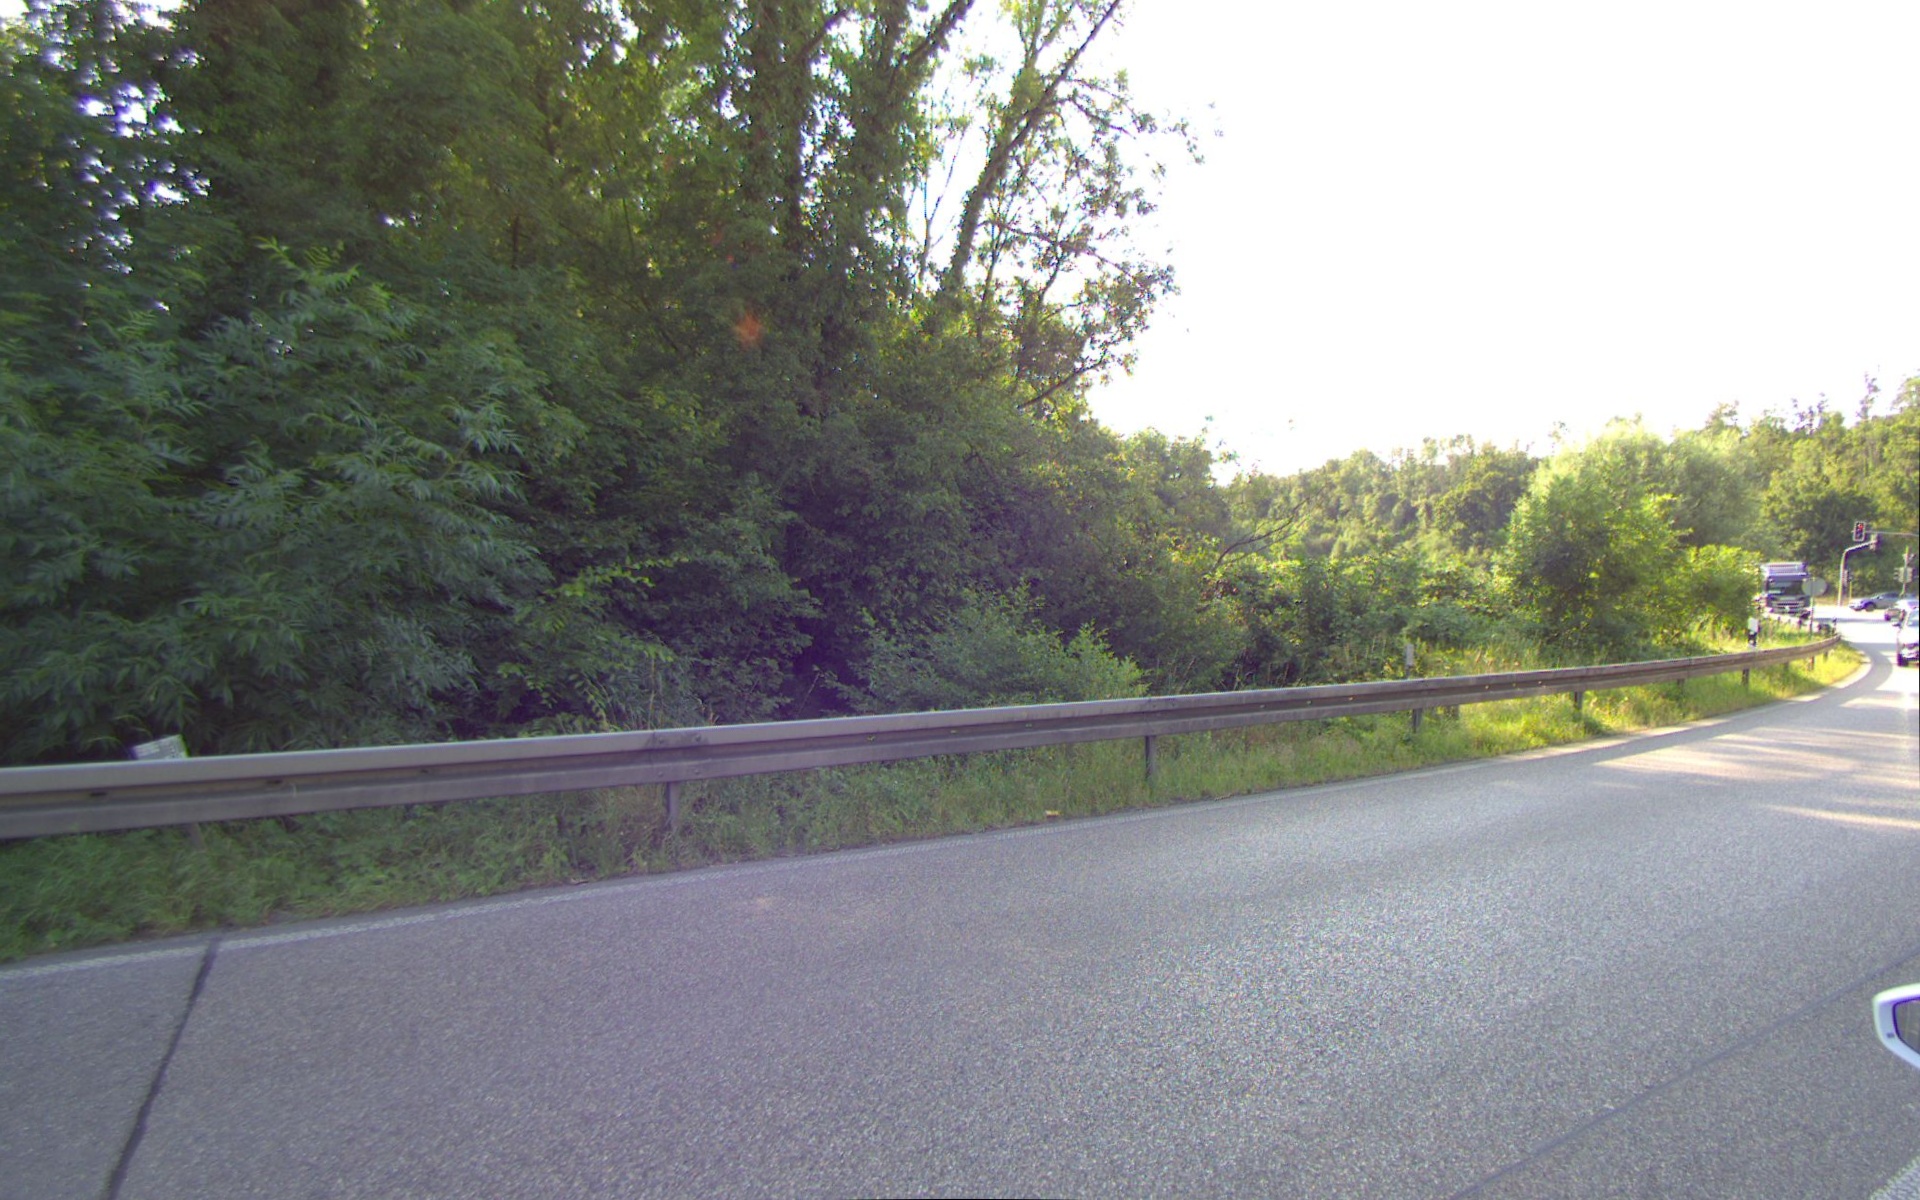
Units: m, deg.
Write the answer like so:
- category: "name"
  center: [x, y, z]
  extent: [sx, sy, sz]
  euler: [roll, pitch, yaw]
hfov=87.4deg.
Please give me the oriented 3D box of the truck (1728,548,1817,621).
- category: "truck"
  center: [56.458, -1.074, 70.088]
  extent: [2.967, 4.647, 10.221]
  euler: [3, 2, 29]

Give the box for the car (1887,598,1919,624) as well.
- category: "car"
  center: [60.571, 0.696, 63.668]
  extent: [1.841, 1.586, 3.991]
  euler: [3, 2, 31]

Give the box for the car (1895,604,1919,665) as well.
- category: "car"
  center: [27.010, 0.921, 27.644]
  extent: [1.847, 1.586, 3.977]
  euler: [0, 0, 43]

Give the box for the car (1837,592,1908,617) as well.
- category: "car"
  center: [76.271, 0.328, 84.013]
  extent: [3.919, 1.876, 1.874]
  euler: [2, 2, 9]
